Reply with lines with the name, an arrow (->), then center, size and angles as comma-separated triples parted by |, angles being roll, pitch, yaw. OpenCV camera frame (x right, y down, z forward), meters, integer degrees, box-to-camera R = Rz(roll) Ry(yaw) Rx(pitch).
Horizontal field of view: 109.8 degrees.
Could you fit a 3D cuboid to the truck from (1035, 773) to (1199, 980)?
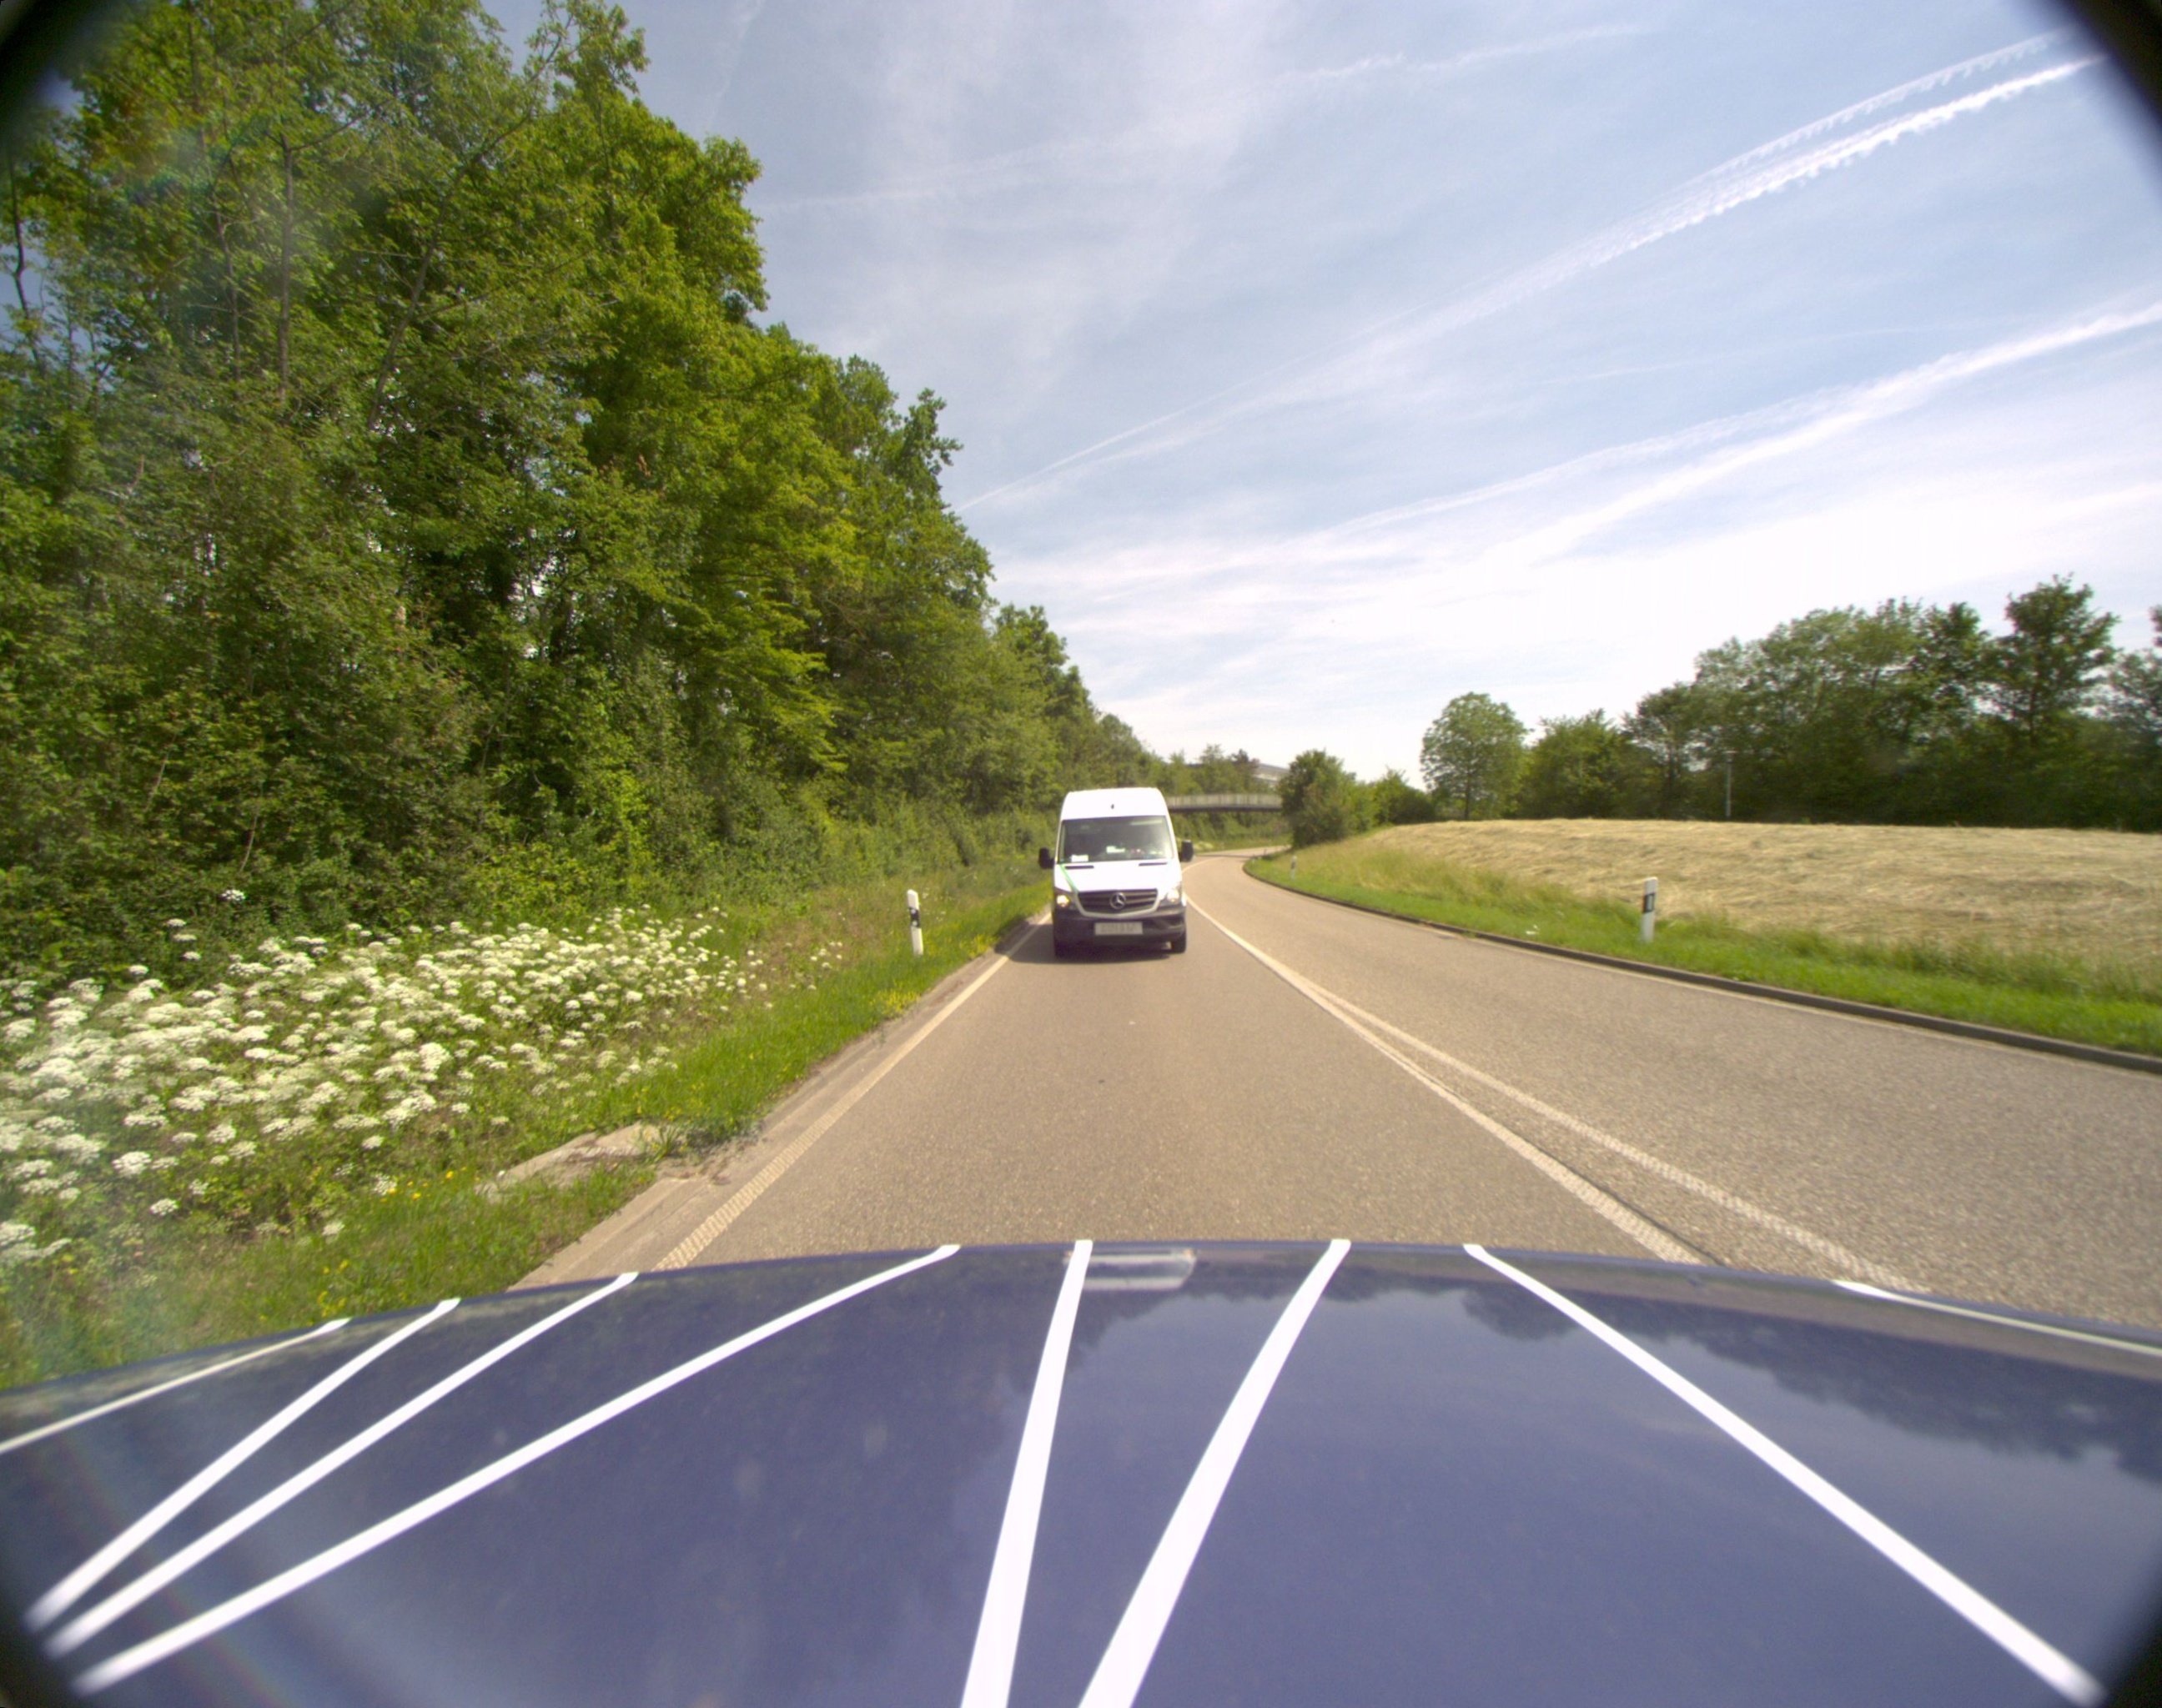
truck -> 0.536, 0.263, 12.653 | 1.998, 2.571, 5.887 | -2, 1, 2
